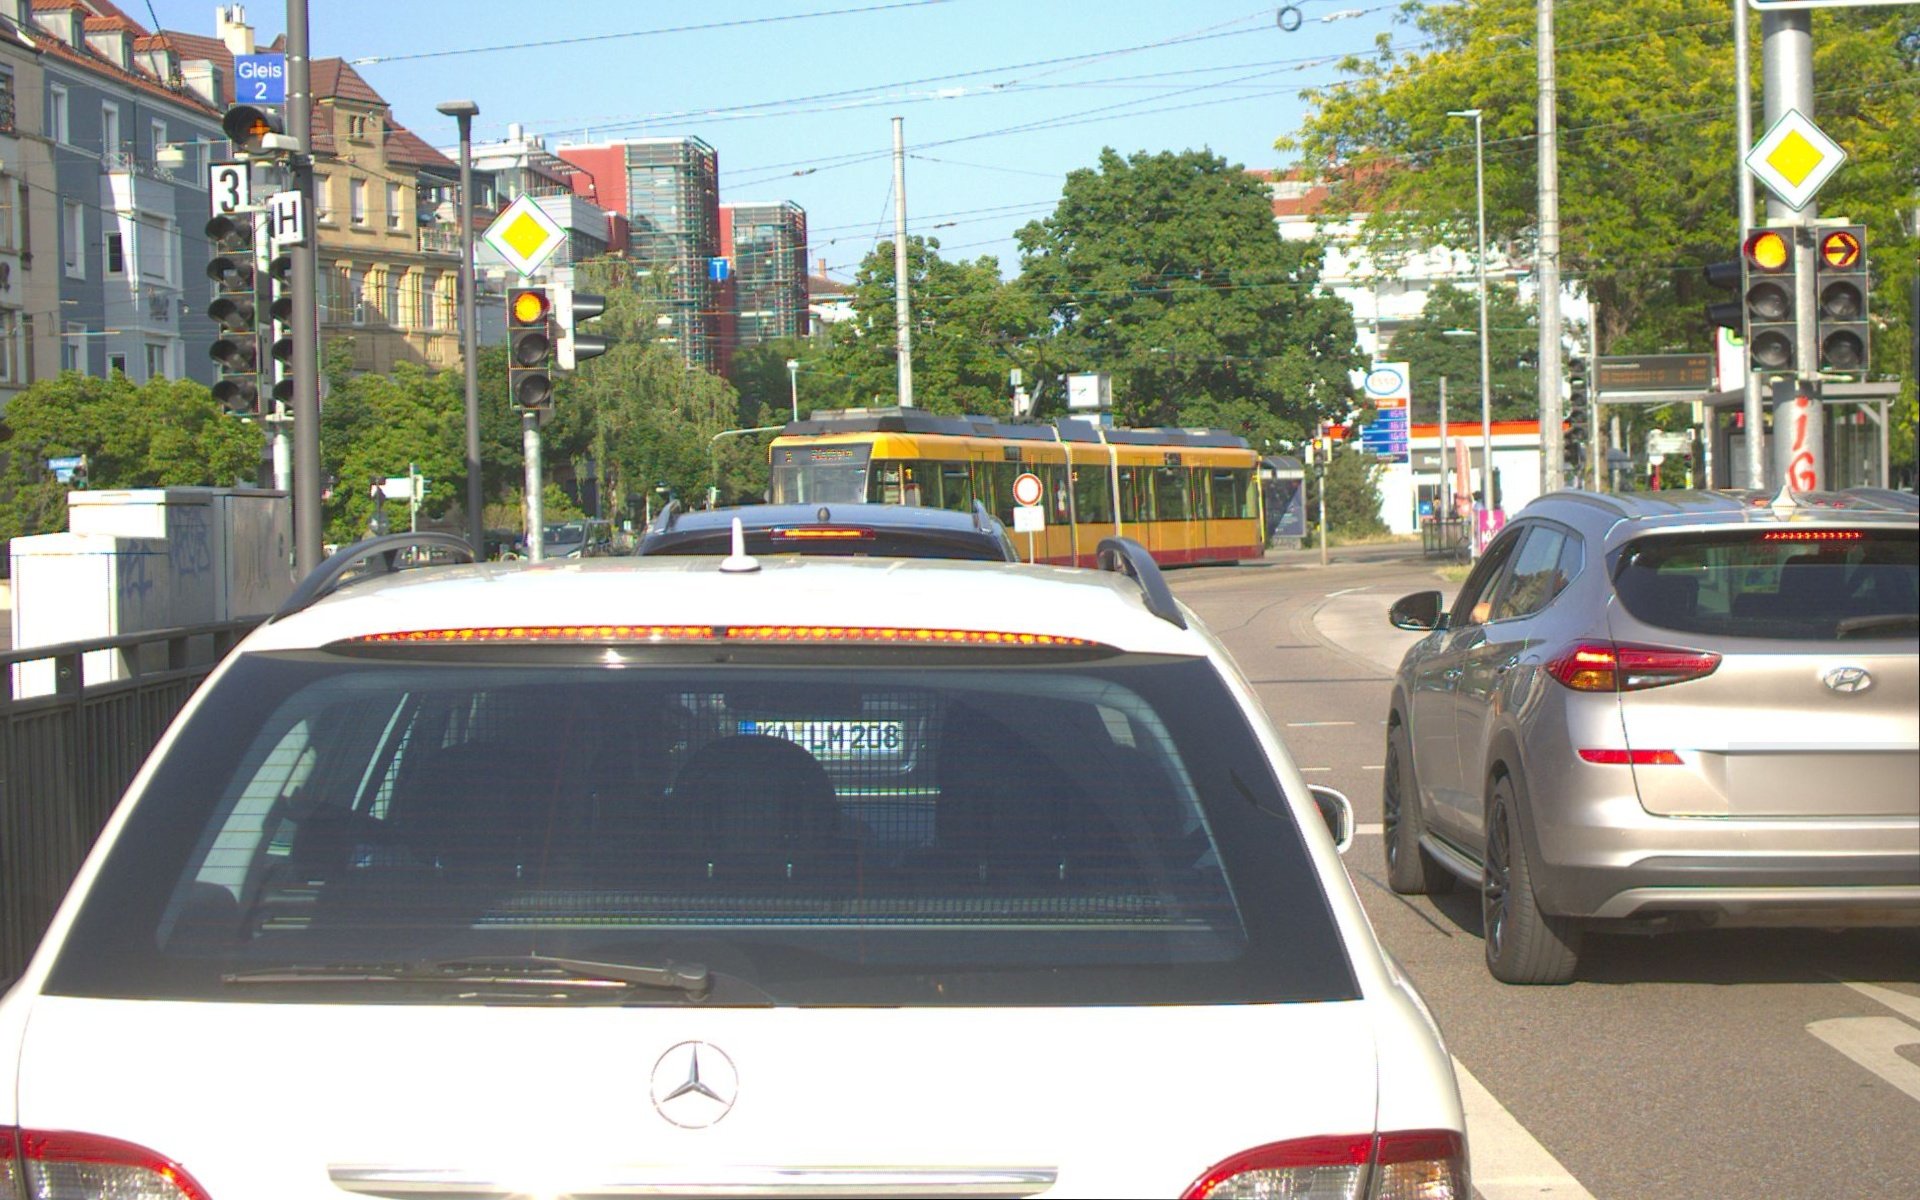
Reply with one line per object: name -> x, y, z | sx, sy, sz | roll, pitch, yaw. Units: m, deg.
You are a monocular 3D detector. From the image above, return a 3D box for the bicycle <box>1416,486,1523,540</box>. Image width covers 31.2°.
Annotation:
bicycle -> 12.216, -2.083, 82.497 | 2.483, 1.209, 0.806 | -1, 1, 8

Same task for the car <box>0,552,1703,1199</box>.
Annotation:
car -> -0.227, 0.679, 5.035 | 1.796, 1.465, 3.648 | 0, 1, -1

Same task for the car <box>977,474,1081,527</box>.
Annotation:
car -> 2.689, -3.877, 134.694 | 3.986, 2.007, 2.000 | 1, 1, -1

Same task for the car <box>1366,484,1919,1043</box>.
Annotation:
car -> 2.632, 0.440, 12.153 | 1.885, 1.645, 3.648 | -2, 1, 0

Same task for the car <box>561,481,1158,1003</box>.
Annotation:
car -> -0.337, 0.415, 12.804 | 1.885, 1.645, 3.648 | 1, 1, 0

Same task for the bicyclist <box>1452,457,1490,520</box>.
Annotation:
bicyclist -> 12.258, -2.677, 82.464 | 0.861, 1.476, 0.789 | -1, 1, 8

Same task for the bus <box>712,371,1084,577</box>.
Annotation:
bus -> -0.906, -2.262, 66.281 | 3.111, 3.593, 12.363 | 1, 1, 19

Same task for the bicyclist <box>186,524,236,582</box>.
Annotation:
bicyclist -> -16.658, -1.048, 76.508 | 0.763, 1.257, 1.174 | -2, 1, 4

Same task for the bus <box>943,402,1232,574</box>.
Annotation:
bus -> 3.130, -2.396, 78.126 | 3.111, 3.593, 12.579 | 1, 1, 19
